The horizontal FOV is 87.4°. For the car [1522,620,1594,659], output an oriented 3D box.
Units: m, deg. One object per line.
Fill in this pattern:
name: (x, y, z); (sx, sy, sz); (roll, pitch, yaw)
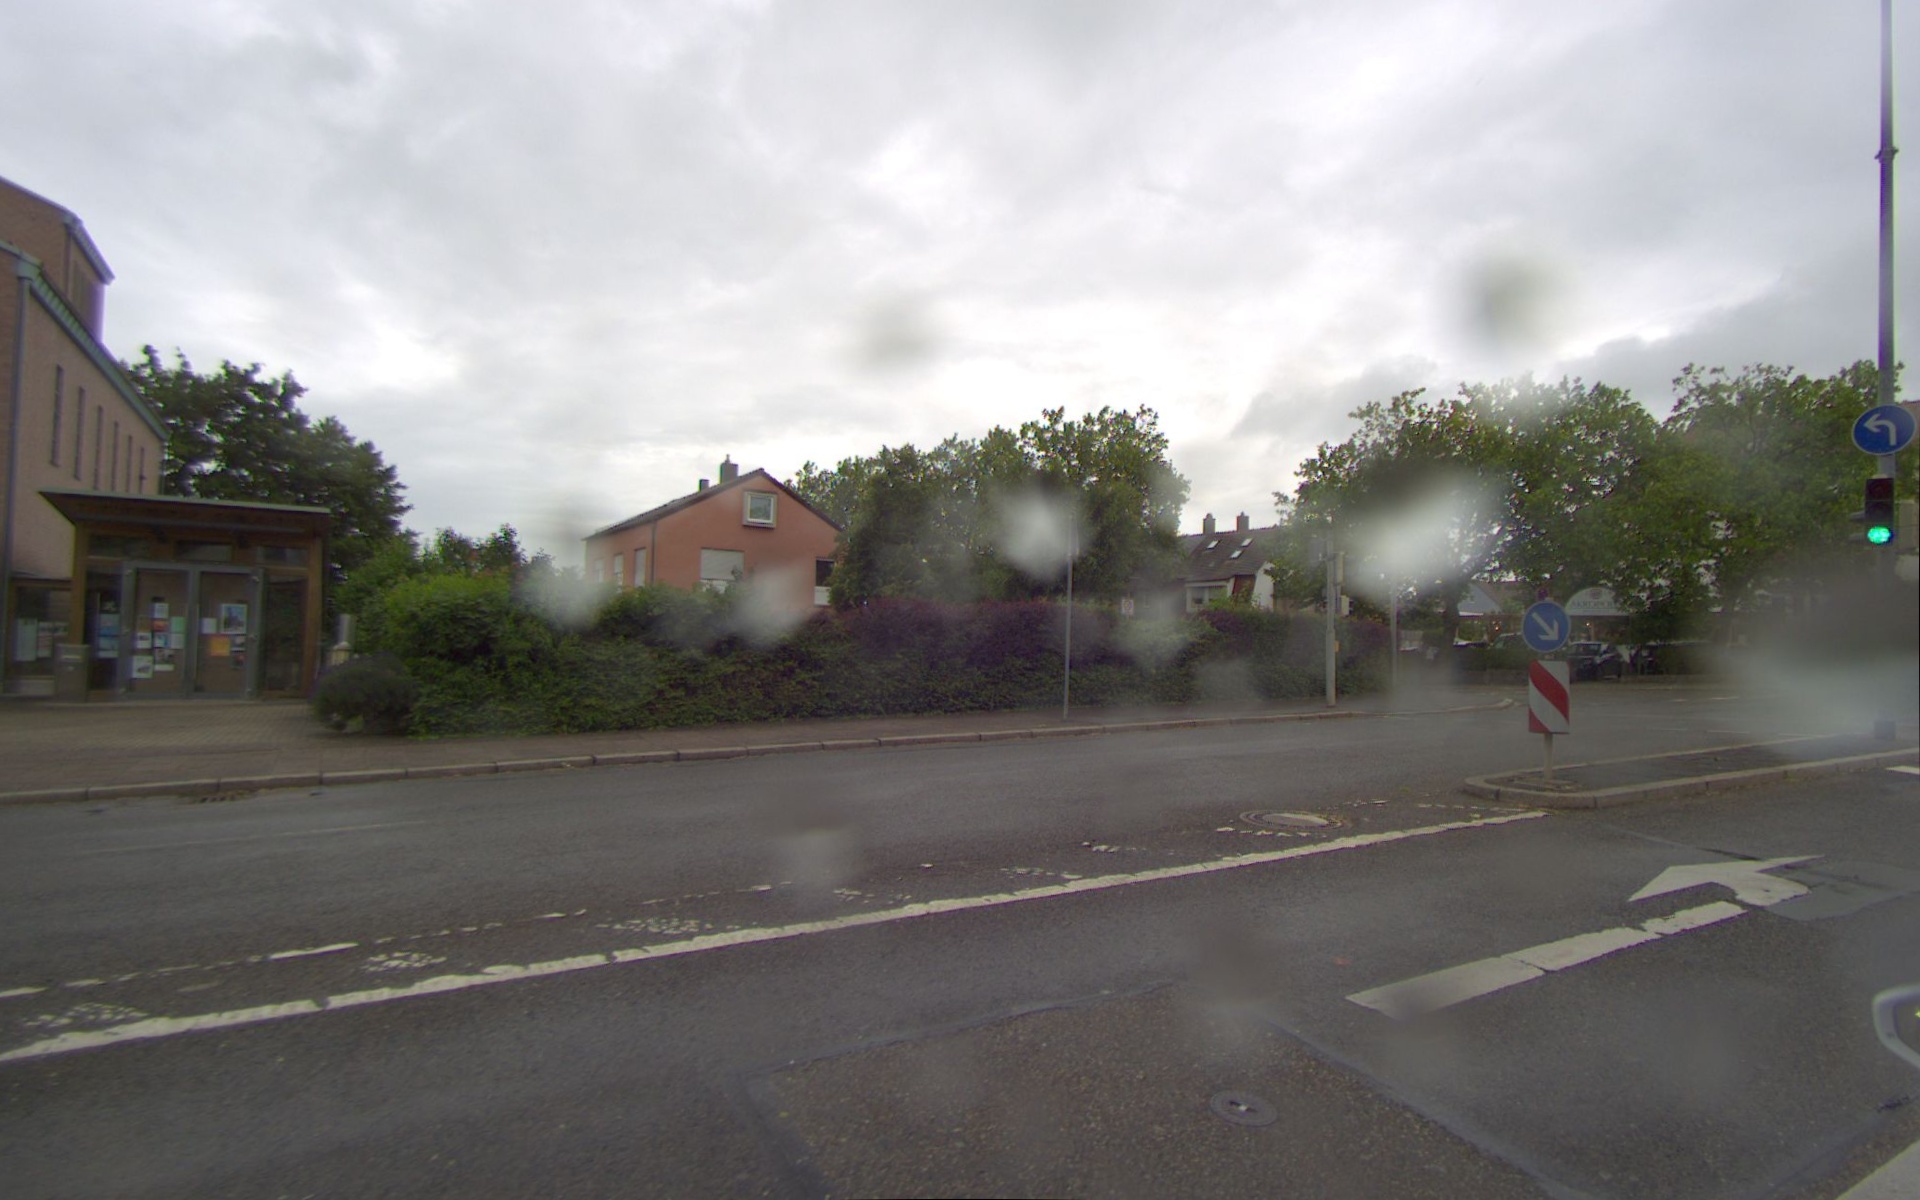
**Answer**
car: (33.457, 2.221, 56.177); (3.959, 2.040, 1.981); (2, 0, -34)

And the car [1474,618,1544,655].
car: (31.912, 2.121, 58.378); (3.959, 2.040, 1.981); (2, 0, -34)

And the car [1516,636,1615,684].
car: (24.243, 2.357, 40.188); (3.955, 1.573, 1.798); (-3, 2, -32)

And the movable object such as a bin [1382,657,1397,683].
movable object such as a bin: (18.359, 2.999, 42.944); (0.404, 1.057, 0.450); (2, 0, -14)
